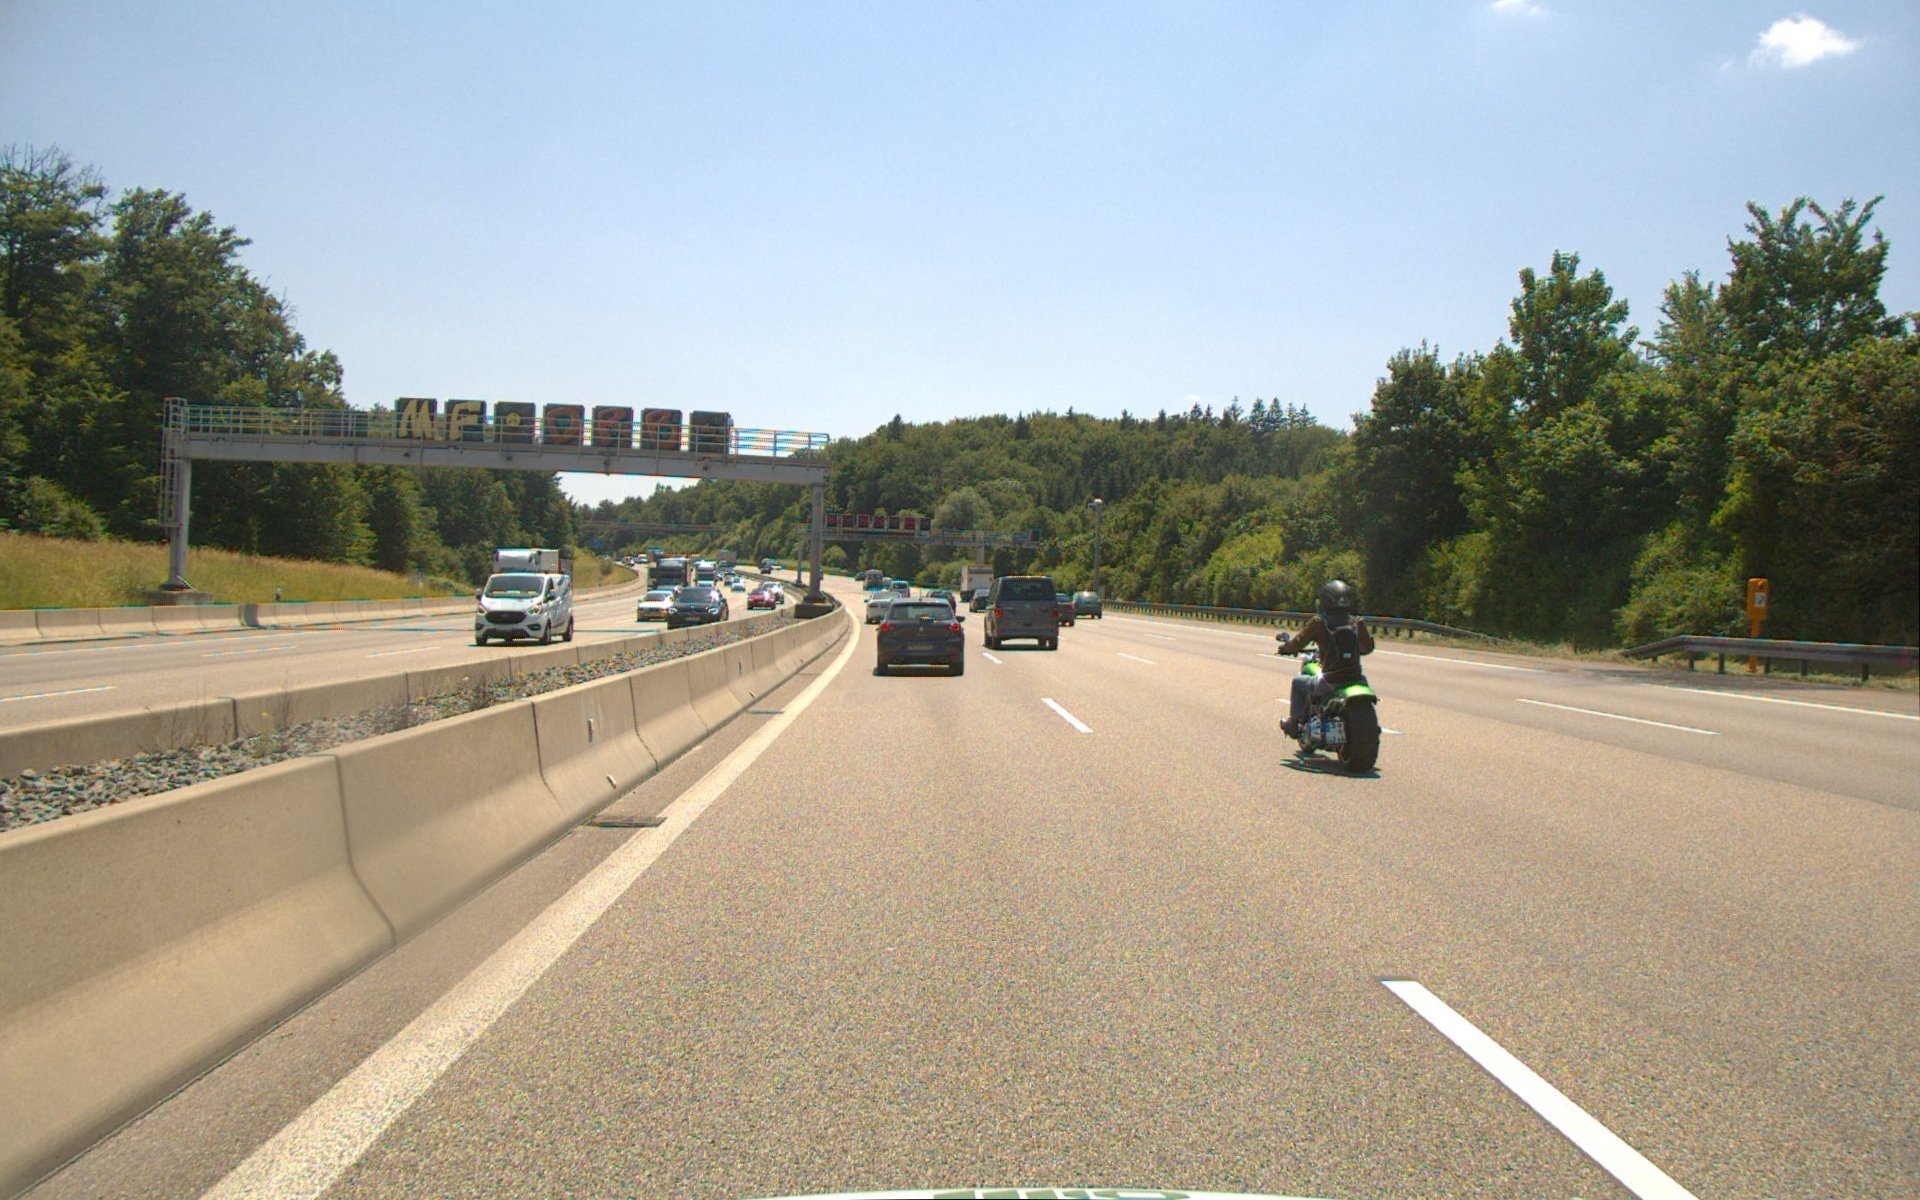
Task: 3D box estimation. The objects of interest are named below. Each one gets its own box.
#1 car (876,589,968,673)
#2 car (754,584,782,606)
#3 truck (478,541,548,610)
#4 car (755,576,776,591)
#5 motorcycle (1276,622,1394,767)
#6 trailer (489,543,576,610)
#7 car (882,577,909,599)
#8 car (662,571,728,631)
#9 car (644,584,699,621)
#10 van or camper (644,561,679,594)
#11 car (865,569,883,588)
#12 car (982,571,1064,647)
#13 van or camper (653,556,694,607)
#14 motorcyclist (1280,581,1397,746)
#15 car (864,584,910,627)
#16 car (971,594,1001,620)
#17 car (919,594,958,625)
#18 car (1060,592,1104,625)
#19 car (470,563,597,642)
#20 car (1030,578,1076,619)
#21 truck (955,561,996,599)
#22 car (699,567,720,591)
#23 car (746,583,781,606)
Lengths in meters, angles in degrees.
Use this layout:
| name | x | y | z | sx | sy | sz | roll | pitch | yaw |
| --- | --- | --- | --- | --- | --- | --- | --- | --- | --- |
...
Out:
| name | x | y | z | sx | sy | sz | roll | pitch | yaw |
| --- | --- | --- | --- | --- | --- | --- | --- | --- | --- |
| car | -0.783 | 0.556 | 32.596 | 1.673 | 1.458 | 3.999 | 1 | 1 | -2 |
| car | -15.212 | -0.396 | 131.171 | 1.954 | 1.758 | 3.998 | 0 | 0 | -3 |
| truck | -21.716 | -1.152 | 80.534 | 2.438 | 3.222 | 4.398 | 1 | 0 | -4 |
| car | -21.196 | -1.804 | 180.706 | 1.954 | 1.618 | 4.841 | 0 | 1 | -3 |
| motorcycle | 3.419 | 0.822 | 15.284 | 0.525 | 1.155 | 2.436 | 0 | 1 | 0 |
| trailer | -22.074 | -1.109 | 85.880 | 2.426 | 3.209 | 10.470 | 1 | -1 | -4 |
| car | -5.591 | -1.023 | 143.177 | 2.062 | 1.774 | 4.683 | 0 | 2 | -6 |
| car | -9.400 | 0.051 | 58.894 | 1.954 | 2.049 | 3.996 | 1 | -1 | -5 |
| car | -14.118 | 0.102 | 81.187 | 2.242 | 1.758 | 5.026 | 0 | 1 | -5 |
| van or camper | -31.042 | -2.255 | 172.039 | 2.710 | 3.180 | 8.086 | 1 | -1 | -5 |
| car | -10.960 | -2.765 | 212.017 | 2.219 | 2.412 | 4.700 | 0 | 1 | -2 |
| car | 1.748 | 0.240 | 47.300 | 1.923 | 2.069 | 5.080 | 0 | 0 | -3 |
| van or camper | -21.742 | -1.398 | 125.889 | 2.382 | 3.742 | 7.751 | 0 | 0 | -5 |
| motorcyclist | 3.447 | 0.557 | 15.153 | 0.835 | 1.452 | 1.023 | 0 | 0 | -1 |
| car | -3.337 | 0.296 | 76.461 | 1.971 | 1.878 | 3.999 | 0 | -2 | 0 |
| car | 1.670 | 0.439 | 105.991 | 1.632 | 1.433 | 4.902 | 1 | 2 | -2 |
| car | -1.303 | 0.561 | 97.248 | 1.955 | 1.758 | 4.144 | 0 | 0 | -6 |
| car | 6.626 | 0.470 | 90.260 | 1.954 | 1.758 | 3.998 | 0 | 0 | -3 |
| car | -12.164 | 0.071 | 47.738 | 2.152 | 2.091 | 7.136 | 0 | 0 | -3 |
| car | 4.111 | -0.054 | 73.387 | 1.811 | 1.758 | 4.000 | 0 | 0 | 0 |
| truck | 1.317 | -1.855 | 148.303 | 2.927 | 3.221 | 7.567 | 0 | 2 | -5 |
| car | -27.501 | -2.315 | 181.709 | 1.954 | 2.620 | 4.166 | 1 | 0 | -4 |
| car | -13.007 | -0.360 | 109.617 | 2.007 | 1.467 | 5.217 | 0 | 0 | -3 |
